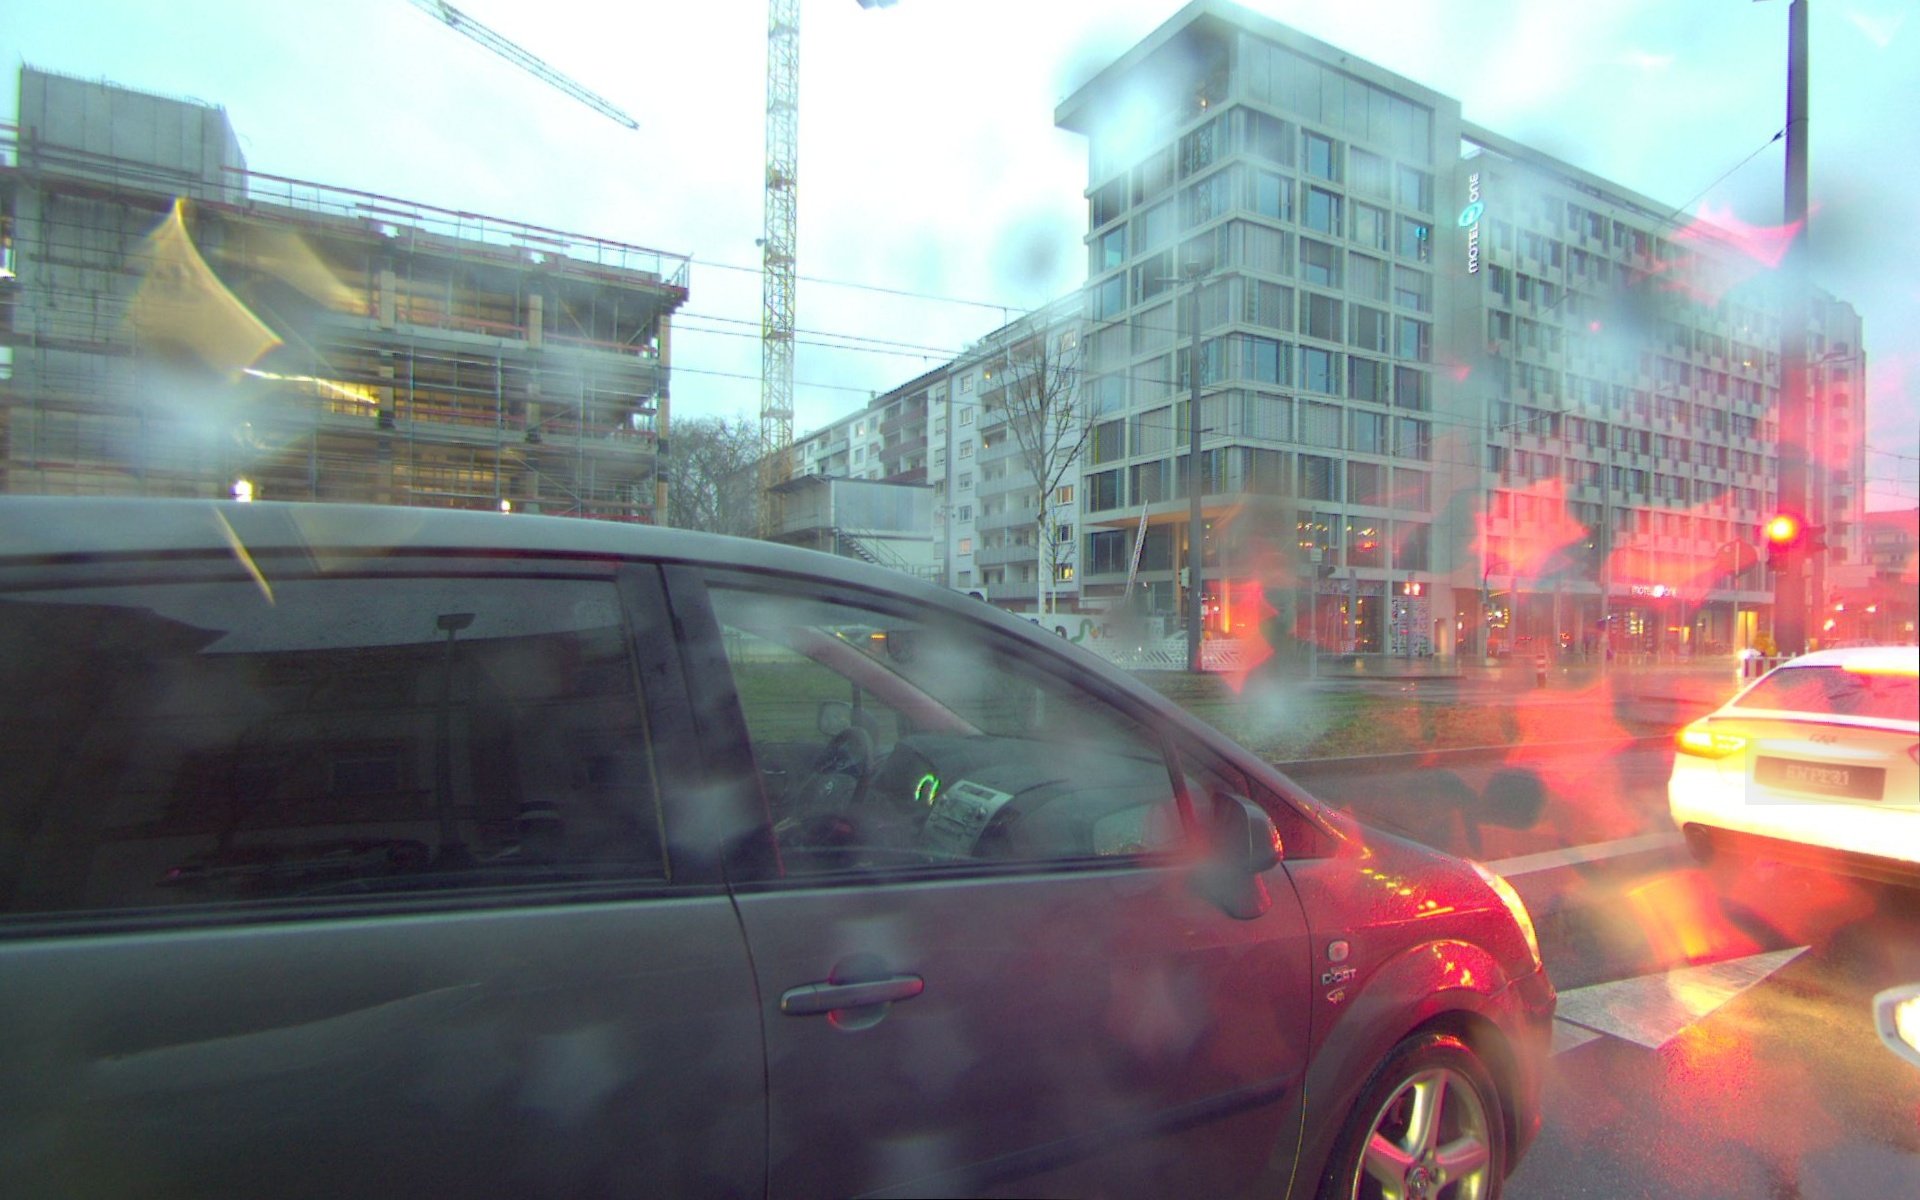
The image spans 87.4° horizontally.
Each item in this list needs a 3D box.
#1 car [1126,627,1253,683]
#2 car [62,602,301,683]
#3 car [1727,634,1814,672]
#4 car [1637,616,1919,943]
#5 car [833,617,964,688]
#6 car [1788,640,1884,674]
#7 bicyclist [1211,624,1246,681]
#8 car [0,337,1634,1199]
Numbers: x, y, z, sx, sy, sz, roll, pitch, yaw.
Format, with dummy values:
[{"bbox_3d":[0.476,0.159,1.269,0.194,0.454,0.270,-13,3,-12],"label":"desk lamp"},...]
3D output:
[{"bbox_3d":[7.895,1.876,34.890,4.002,1.709,1.960,2,0,4],"label":"car"},{"bbox_3d":[-17.894,0.968,23.362,4.032,1.709,1.945,2,0,-28],"label":"car"},{"bbox_3d":[41.778,2.716,51.756,4.542,1.813,1.873,2,0,-29],"label":"car"},{"bbox_3d":[6.086,0.905,6.083,4.205,1.489,1.750,2,0,-32],"label":"car"},{"bbox_3d":[-2.057,1.713,33.194,4.013,2.151,1.954,2,0,-13],"label":"car"},{"bbox_3d":[42.140,2.711,48.278,5.035,1.481,1.984,2,0,-30],"label":"car"},{"bbox_3d":[13.943,2.707,52.199,1.331,2.865,1.188,2,0,38],"label":"bicyclist"},{"bbox_3d":[-0.496,0.597,2.137,3.956,1.615,1.750,2,0,-32],"label":"car"}]
